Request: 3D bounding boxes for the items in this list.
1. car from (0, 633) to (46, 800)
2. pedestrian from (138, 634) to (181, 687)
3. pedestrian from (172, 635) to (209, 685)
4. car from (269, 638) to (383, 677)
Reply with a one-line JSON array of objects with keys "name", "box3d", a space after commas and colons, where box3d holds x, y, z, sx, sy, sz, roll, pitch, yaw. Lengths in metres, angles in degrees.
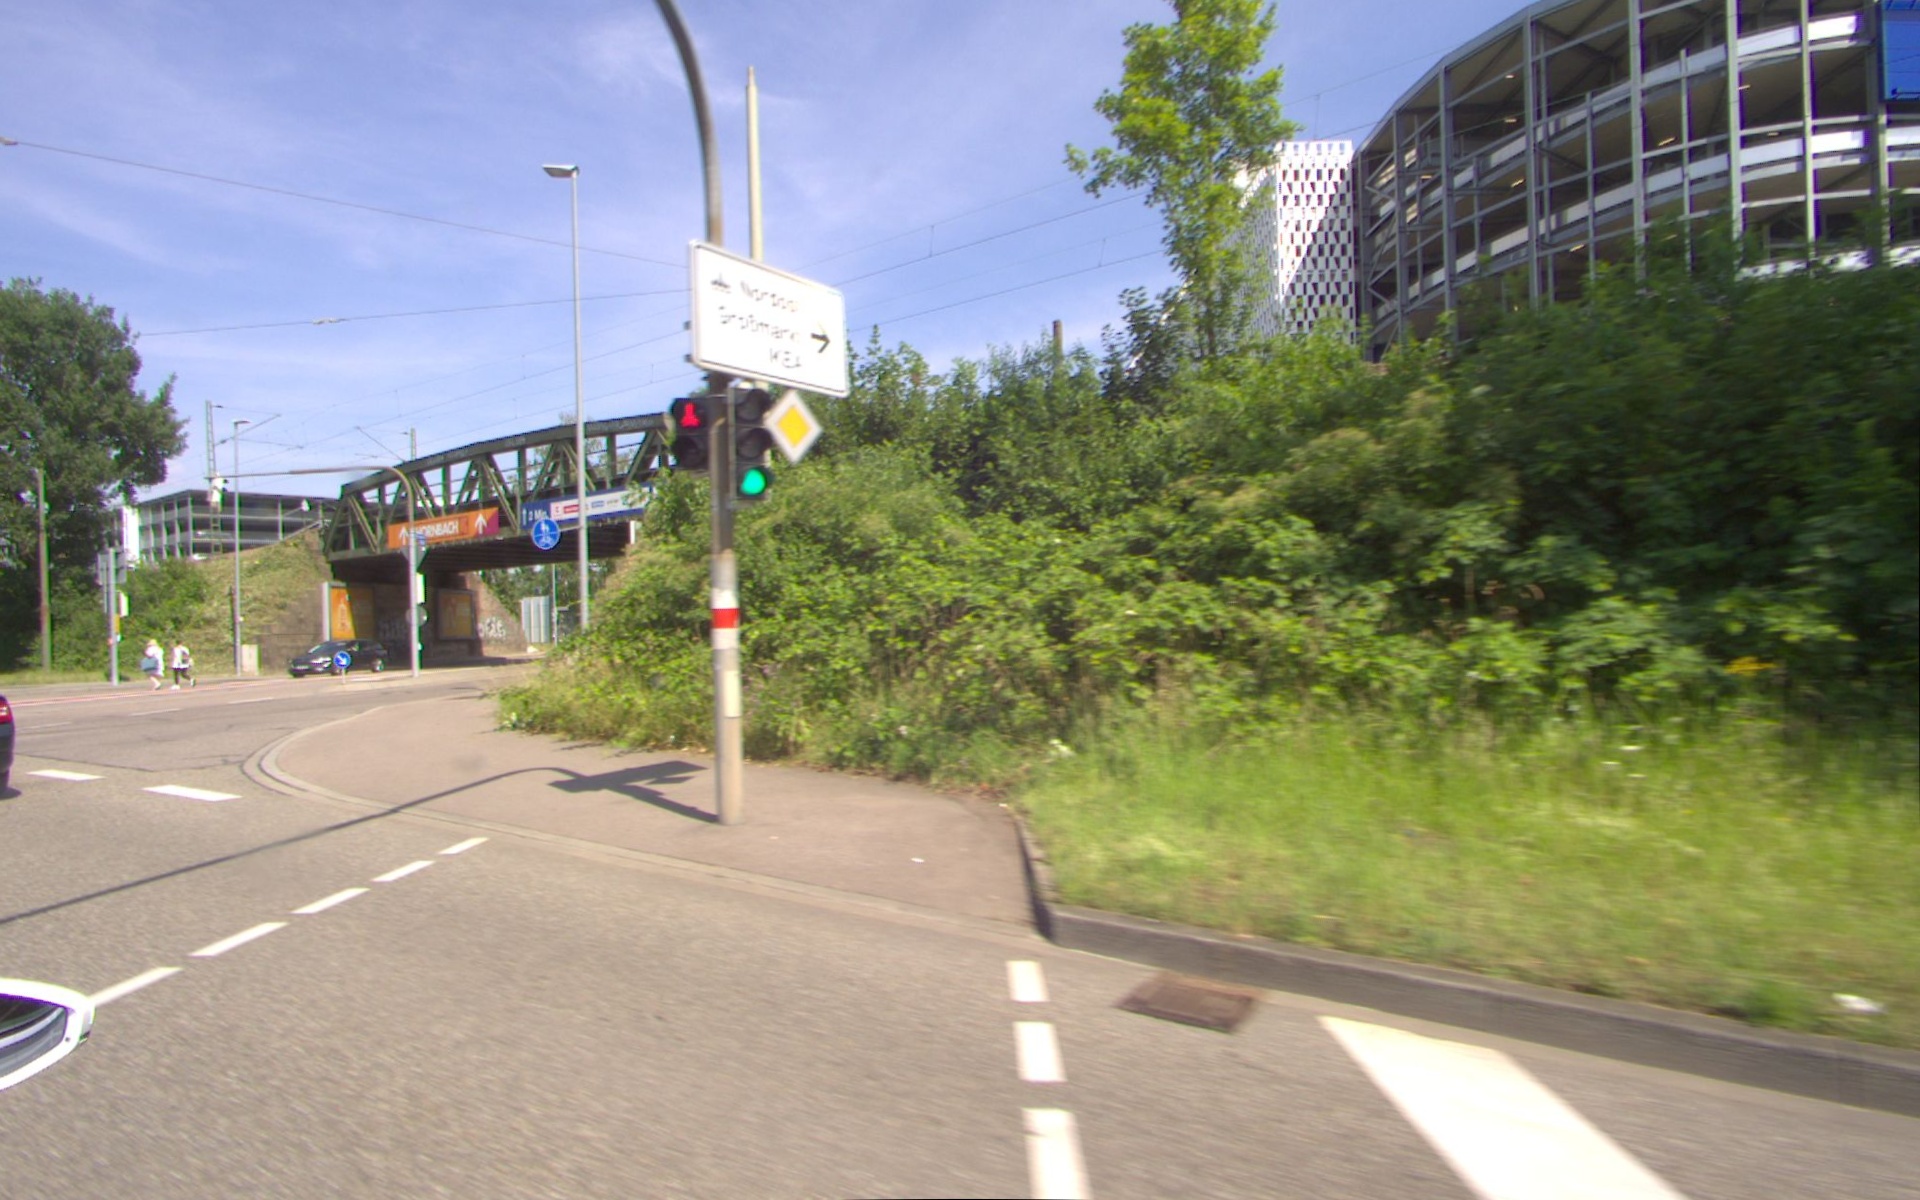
[{"name": "car", "box3d": [-10.471, 1.058, 9.444, 3.977, 1.472, 1.672, -1, -2, 31]}, {"name": "pedestrian", "box3d": [-25.523, 1.911, 31.931, 0.767, 1.632, 0.865, -1, 0, 34]}, {"name": "pedestrian", "box3d": [-25.049, 1.941, 32.595, 0.767, 1.600, 0.727, -1, 0, 34]}, {"name": "car", "box3d": [-26.006, 2.335, 41.278, 1.961, 1.427, 4.502, -1, -1, -2]}]
